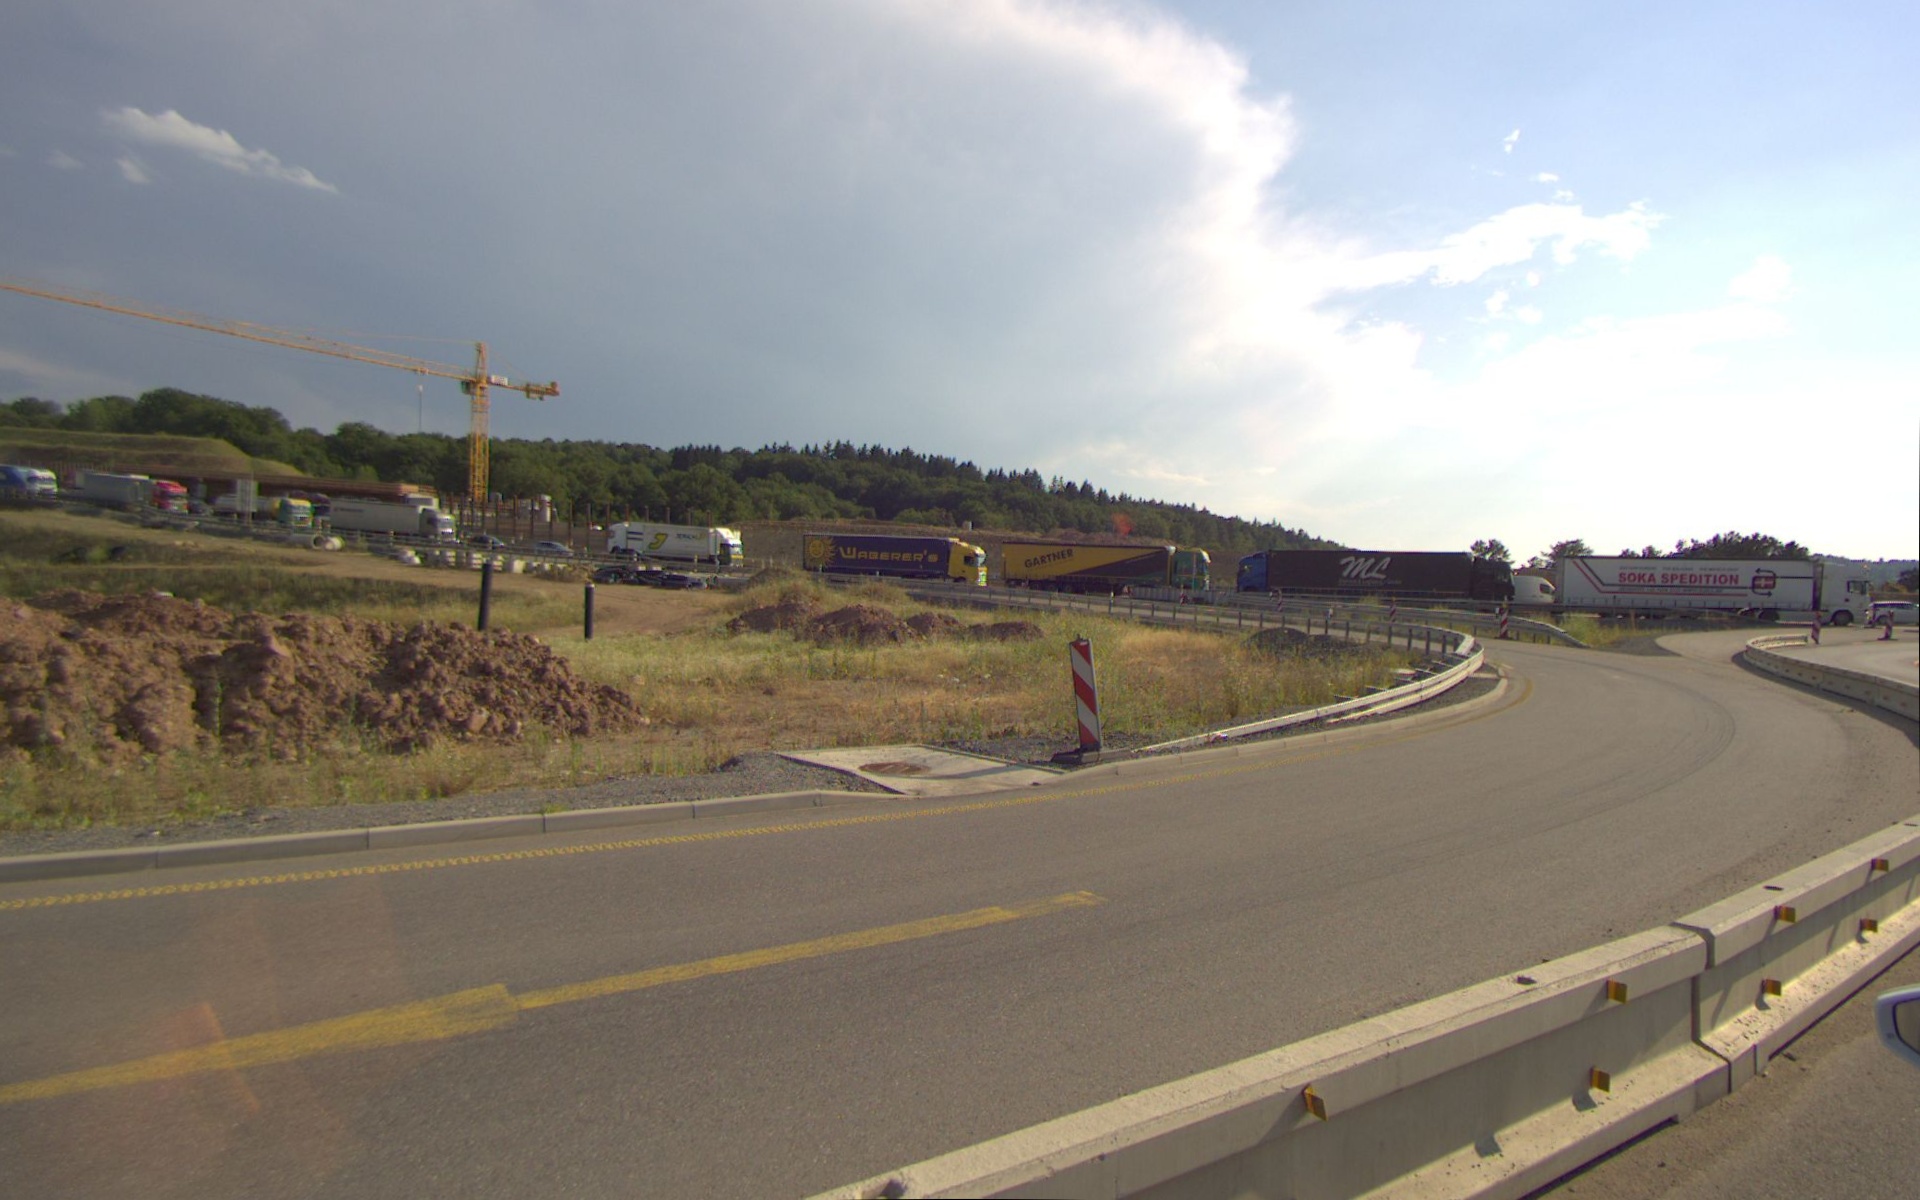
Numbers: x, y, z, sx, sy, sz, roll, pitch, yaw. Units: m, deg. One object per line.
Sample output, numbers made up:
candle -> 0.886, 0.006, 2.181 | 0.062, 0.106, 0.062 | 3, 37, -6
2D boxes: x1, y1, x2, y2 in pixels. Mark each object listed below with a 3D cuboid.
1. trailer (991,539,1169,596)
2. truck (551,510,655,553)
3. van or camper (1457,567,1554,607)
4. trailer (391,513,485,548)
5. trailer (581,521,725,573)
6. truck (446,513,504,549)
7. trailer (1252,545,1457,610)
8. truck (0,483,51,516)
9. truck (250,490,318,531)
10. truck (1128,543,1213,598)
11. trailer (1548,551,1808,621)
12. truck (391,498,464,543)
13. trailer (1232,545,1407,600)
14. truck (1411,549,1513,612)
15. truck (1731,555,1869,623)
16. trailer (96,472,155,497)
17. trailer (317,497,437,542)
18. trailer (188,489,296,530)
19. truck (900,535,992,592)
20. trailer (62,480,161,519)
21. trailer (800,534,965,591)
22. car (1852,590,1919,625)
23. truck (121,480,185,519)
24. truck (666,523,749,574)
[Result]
trailer -> 9.365, -2.630, 79.546 | 13.703, 4.012, 2.487 | 3, 2, 21
truck -> -40.197, -7.666, 112.819 | 12.941, 4.470, 3.566 | 3, 1, 31
van or camper -> 39.033, -0.953, 72.054 | 5.790, 2.655, 1.998 | 3, 3, 24
trailer -> -69.372, -9.252, 133.398 | 13.981, 4.372, 3.111 | 3, 1, 25
trailer -> -29.003, -5.018, 94.684 | 13.974, 4.372, 3.113 | 3, 1, 22
truck -> -62.959, -9.014, 130.467 | 6.765, 4.372, 3.111 | 3, 1, 25
trailer -> 28.116, -1.707, 72.304 | 13.364, 4.116, 2.488 | 3, 2, 21
truck -> -123.939, -13.311, 132.626 | 8.388, 4.054, 2.522 | 3, 1, 23
truck -> -76.845, -10.190, 114.181 | 6.762, 4.372, 3.113 | 3, 1, 22
truck -> 16.130, -2.303, 76.936 | 5.894, 3.954, 2.487 | 3, 2, 21
trailer -> 46.116, -1.002, 65.158 | 13.363, 3.931, 2.488 | 3, 2, 21
truck -> -55.756, -8.331, 105.173 | 6.762, 4.372, 3.113 | 3, 1, 22
trailer -> 29.453, -2.343, 82.798 | 13.212, 4.050, 2.865 | 3, 2, 21
truck -> 34.715, -1.394, 69.701 | 5.894, 4.115, 2.488 | 3, 2, 21
truck -> 52.355, -0.747, 62.791 | 5.893, 3.931, 2.488 | 3, 2, 21
trailer -> -129.252, -17.876, 155.539 | 10.957, 3.561, 1.971 | 3, 1, 22
trailer -> -62.683, -8.648, 107.959 | 13.974, 4.372, 3.113 | 3, 1, 22
trailer -> -83.726, -10.514, 116.989 | 13.974, 4.372, 3.113 | 3, 1, 22
truck -> -1.158, -3.037, 83.618 | 6.762, 4.372, 3.113 | 3, 1, 22
trailer -> -105.407, -12.456, 124.726 | 13.974, 4.372, 3.113 | 3, 1, 22
trailer -> -6.708, -3.229, 85.833 | 13.974, 4.372, 3.113 | 3, 1, 22
car -> 60.224, 0.496, 63.732 | 4.882, 2.008, 2.034 | 2, 4, 22
truck -> -97.763, -12.140, 121.666 | 6.762, 4.372, 3.113 | 3, 1, 22
truck -> -23.241, -4.750, 92.343 | 6.762, 4.372, 3.113 | 3, 1, 22
